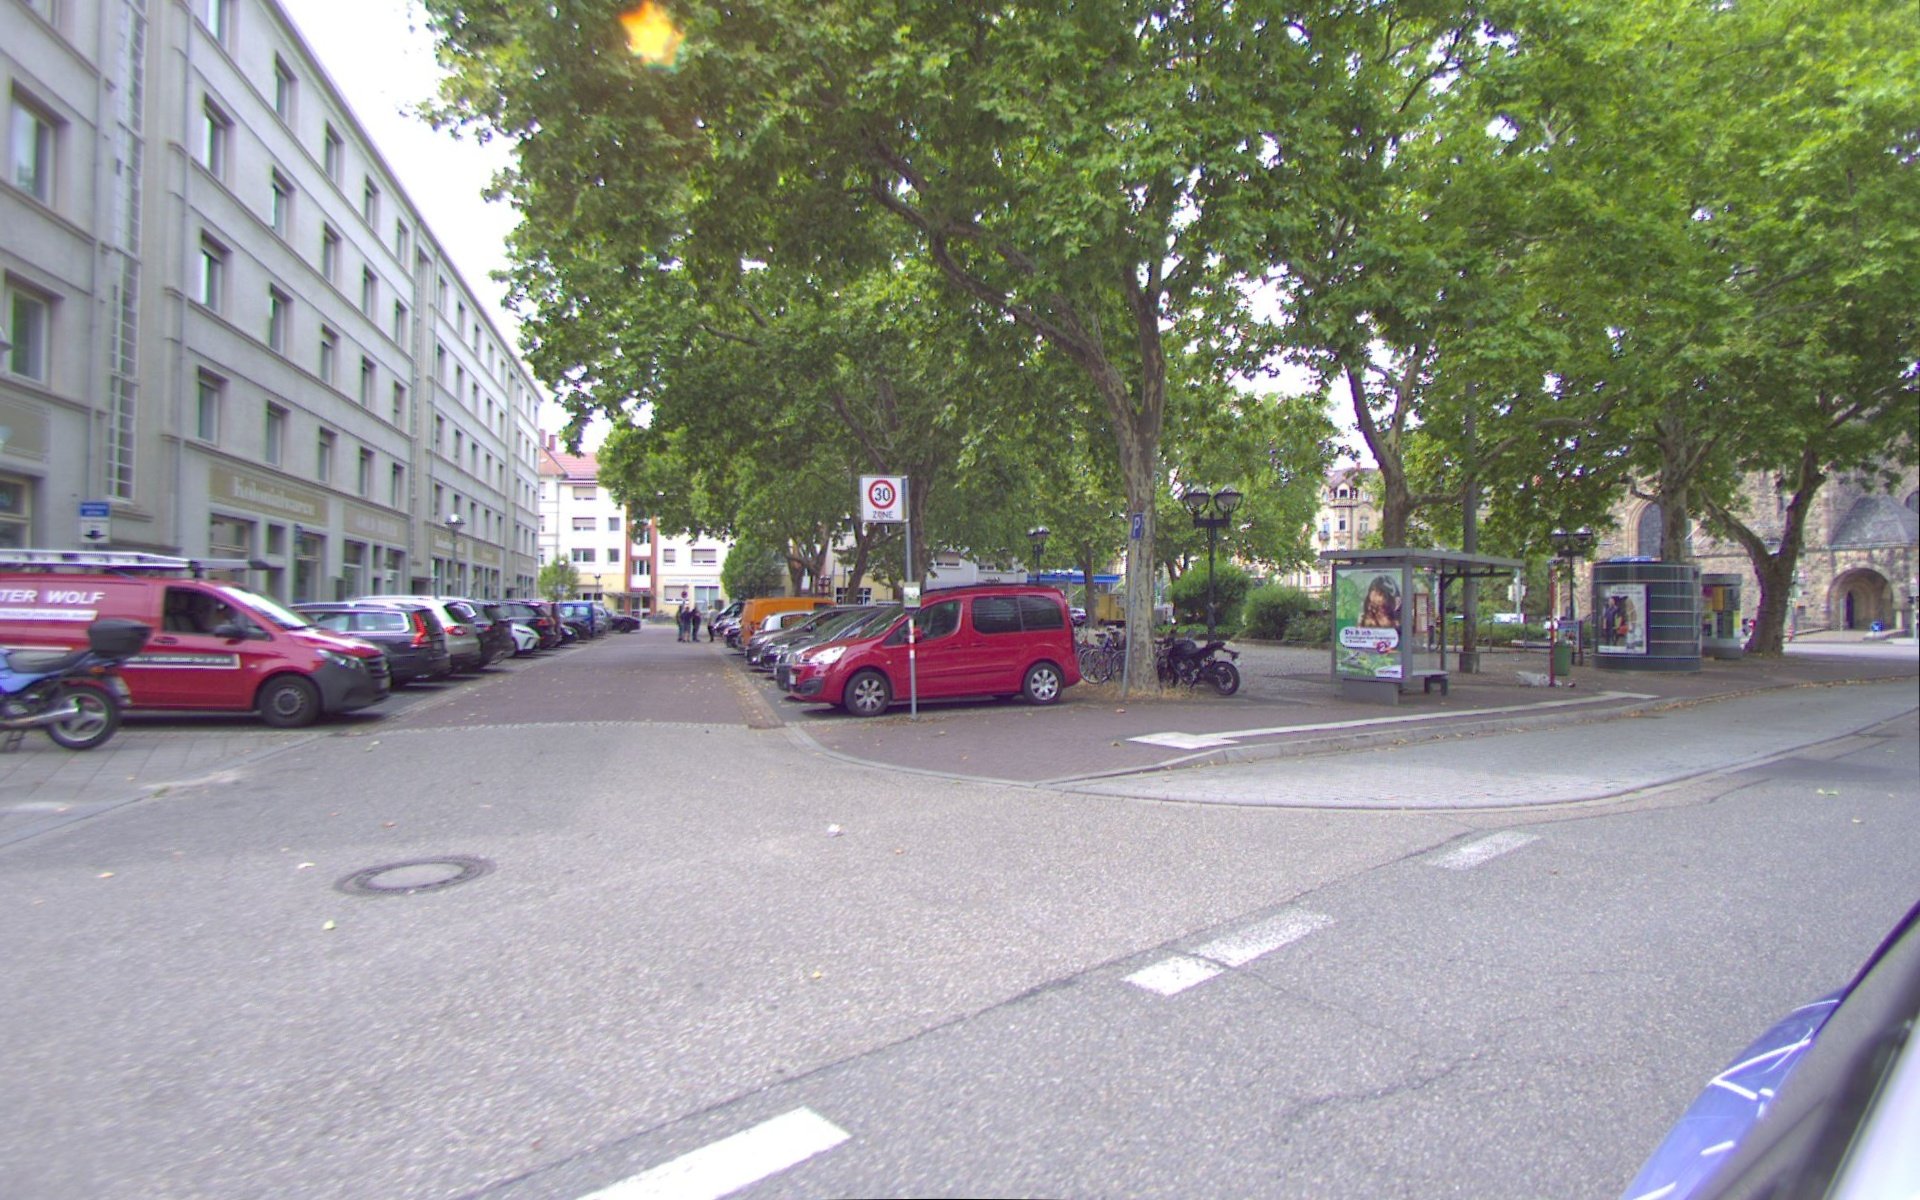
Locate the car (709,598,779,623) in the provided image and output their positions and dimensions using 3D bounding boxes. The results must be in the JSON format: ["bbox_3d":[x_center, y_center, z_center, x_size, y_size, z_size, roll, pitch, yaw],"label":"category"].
[{"bbox_3d":[-13.205,0.636,62.024,4.018,1.502,2.002,1,-1,-5],"label":"car"}]

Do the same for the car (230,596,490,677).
[{"bbox_3d":[-11.843,0.690,20.308,4.106,1.506,2.004,0,-1,-17],"label":"car"}]

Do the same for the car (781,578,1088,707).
[{"bbox_3d":[-0.412,0.577,15.258,4.239,1.727,1.942,0,0,-20],"label":"car"}]

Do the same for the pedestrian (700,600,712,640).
[{"bbox_3d":[-11.799,0.924,47.008,0.426,1.836,0.448,1,-2,-19],"label":"pedestrian"}]

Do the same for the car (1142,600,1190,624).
[{"bbox_3d":[17.069,1.021,83.988,1.958,1.902,4.390,1,-1,-18],"label":"car"}]

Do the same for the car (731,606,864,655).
[{"bbox_3d":[-5.219,0.935,32.355,3.916,1.482,2.004,0,0,-19],"label":"car"}]

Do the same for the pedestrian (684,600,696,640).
[{"bbox_3d":[-12.490,0.911,46.781,0.438,1.836,0.436,1,-2,-21],"label":"pedestrian"}]

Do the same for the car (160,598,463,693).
[{"bbox_3d":[-11.213,0.747,17.869,4.106,1.523,2.004,0,-1,-17],"label":"car"}]

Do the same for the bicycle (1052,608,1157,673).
[{"bbox_3d":[3.197,0.887,22.354,2.264,1.395,0.421,0,-1,-7],"label":"bicycle"}]

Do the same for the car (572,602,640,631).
[{"bbox_3d":[-22.161,1.024,63.527,3.916,1.750,2.004,0,-1,-17],"label":"car"}]

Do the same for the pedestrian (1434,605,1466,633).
[{"bbox_3d":[24.122,0.927,49.833,0.849,1.334,1.181,1,-1,-17],"label":"pedestrian"}]

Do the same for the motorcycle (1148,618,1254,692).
[{"bbox_3d":[4.232,0.942,17.900,0.522,1.238,1.856,2,-2,-42],"label":"motorcycle"}]

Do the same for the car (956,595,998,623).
[{"bbox_3d":[1.294,0.695,79.591,1.958,2.135,4.036,1,-1,-20],"label":"car"}]

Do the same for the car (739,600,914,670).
[{"bbox_3d":[-3.305,0.810,24.851,3.916,1.619,2.004,0,0,-19],"label":"car"}]

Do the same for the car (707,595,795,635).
[{"bbox_3d":[-10.104,0.714,48.790,3.916,1.839,1.921,0,0,-20],"label":"car"}]

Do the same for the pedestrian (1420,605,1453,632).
[{"bbox_3d":[23.269,0.899,49.428,0.849,1.334,1.181,1,-1,-17],"label":"pedestrian"}]

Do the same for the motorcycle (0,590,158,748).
[{"bbox_3d":[-9.324,0.647,9.813,2.258,1.480,0.836,2,-1,-28],"label":"motorcycle"}]

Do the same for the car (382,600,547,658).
[{"bbox_3d":[-14.488,0.815,29.838,4.106,1.611,2.004,0,-1,-18],"label":"car"}]

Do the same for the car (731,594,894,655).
[{"bbox_3d":[-4.403,0.692,30.085,4.464,1.716,2.004,0,0,-19],"label":"car"}]

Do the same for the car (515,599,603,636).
[{"bbox_3d":[-19.864,0.852,50.337,3.916,1.750,2.004,0,-1,-18],"label":"car"}]

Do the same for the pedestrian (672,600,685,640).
[{"bbox_3d":[-12.998,0.902,46.716,0.427,1.836,0.448,2,-2,-29],"label":"pedestrian"}]

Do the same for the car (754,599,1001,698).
[{"bbox_3d":[-1.449,0.771,17.503,3.916,1.572,1.837,0,0,-19],"label":"car"}]

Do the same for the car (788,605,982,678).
[{"bbox_3d":[-1.690,0.868,22.498,3.916,1.482,2.004,0,0,-19],"label":"car"}]

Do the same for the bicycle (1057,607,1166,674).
[{"bbox_3d":[3.257,0.862,21.731,2.264,1.395,0.421,1,-1,-7],"label":"bicycle"}]

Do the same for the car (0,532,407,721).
[{"bbox_3d":[-10.003,0.313,13.025,4.742,2.177,2.004,0,-1,-17],"label":"car"}]

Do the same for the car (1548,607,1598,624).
[{"bbox_3d":[58.818,1.478,97.138,3.871,1.662,2.004,1,-1,-15],"label":"car"}]

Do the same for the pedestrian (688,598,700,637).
[{"bbox_3d":[-12.658,0.816,48.165,0.439,1.836,0.436,2,-2,-30],"label":"pedestrian"}]

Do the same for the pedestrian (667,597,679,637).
[{"bbox_3d":[-13.377,0.791,47.211,0.427,1.836,0.448,2,-2,-29],"label":"pedestrian"}]

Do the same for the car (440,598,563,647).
[{"bbox_3d":[-16.850,0.808,37.388,3.916,1.750,2.004,0,-1,-18],"label":"car"}]

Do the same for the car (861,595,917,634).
[{"bbox_3d":[-3.621,0.708,50.671,1.958,1.839,4.341,1,-1,-15],"label":"car"}]

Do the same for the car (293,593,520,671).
[{"bbox_3d":[-12.172,0.683,22.590,4.106,1.611,2.004,0,-1,-17],"label":"car"}]

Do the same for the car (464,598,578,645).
[{"bbox_3d":[-17.176,0.821,39.801,3.916,1.750,2.004,0,-1,-18],"label":"car"}]

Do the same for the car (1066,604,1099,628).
[{"bbox_3d":[9.869,1.270,81.923,1.961,1.839,4.001,1,-1,-3],"label":"car"}]

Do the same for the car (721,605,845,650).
[{"bbox_3d":[-6.112,0.921,34.809,3.916,1.482,2.004,0,0,-19],"label":"car"}]

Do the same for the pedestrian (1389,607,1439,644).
[{"bbox_3d":[15.762,0.877,35.150,1.117,1.228,1.101,0,0,-15],"label":"pedestrian"}]

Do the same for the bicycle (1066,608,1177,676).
[{"bbox_3d":[3.366,0.874,21.142,2.264,1.395,0.421,0,-1,-7],"label":"bicycle"}]

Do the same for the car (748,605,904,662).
[{"bbox_3d":[-3.704,0.875,27.736,3.916,1.482,2.004,0,0,-19],"label":"car"}]

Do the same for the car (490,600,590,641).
[{"bbox_3d":[-18.469,0.880,44.695,3.916,1.750,2.004,0,-1,-18],"label":"car"}]

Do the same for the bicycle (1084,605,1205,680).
[{"bbox_3d":[3.623,0.840,19.882,2.264,1.395,0.421,2,-1,-7],"label":"bicycle"}]

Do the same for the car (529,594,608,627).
[{"bbox_3d":[-21.436,0.583,55.594,3.916,1.750,2.004,0,-1,-18],"label":"car"}]

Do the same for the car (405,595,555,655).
[{"bbox_3d":[-15.209,0.773,32.312,4.106,1.820,2.004,0,-1,-18],"label":"car"}]

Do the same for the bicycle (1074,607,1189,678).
[{"bbox_3d":[3.478,0.863,20.508,2.264,1.395,0.421,1,-1,-7],"label":"bicycle"}]

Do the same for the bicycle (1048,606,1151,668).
[{"bbox_3d":[3.162,0.833,22.940,2.264,1.395,0.421,0,-1,-7],"label":"bicycle"}]

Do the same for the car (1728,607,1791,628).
[{"bbox_3d":[63.746,1.386,80.722,3.916,1.672,2.004,1,-1,-15],"label":"car"}]
